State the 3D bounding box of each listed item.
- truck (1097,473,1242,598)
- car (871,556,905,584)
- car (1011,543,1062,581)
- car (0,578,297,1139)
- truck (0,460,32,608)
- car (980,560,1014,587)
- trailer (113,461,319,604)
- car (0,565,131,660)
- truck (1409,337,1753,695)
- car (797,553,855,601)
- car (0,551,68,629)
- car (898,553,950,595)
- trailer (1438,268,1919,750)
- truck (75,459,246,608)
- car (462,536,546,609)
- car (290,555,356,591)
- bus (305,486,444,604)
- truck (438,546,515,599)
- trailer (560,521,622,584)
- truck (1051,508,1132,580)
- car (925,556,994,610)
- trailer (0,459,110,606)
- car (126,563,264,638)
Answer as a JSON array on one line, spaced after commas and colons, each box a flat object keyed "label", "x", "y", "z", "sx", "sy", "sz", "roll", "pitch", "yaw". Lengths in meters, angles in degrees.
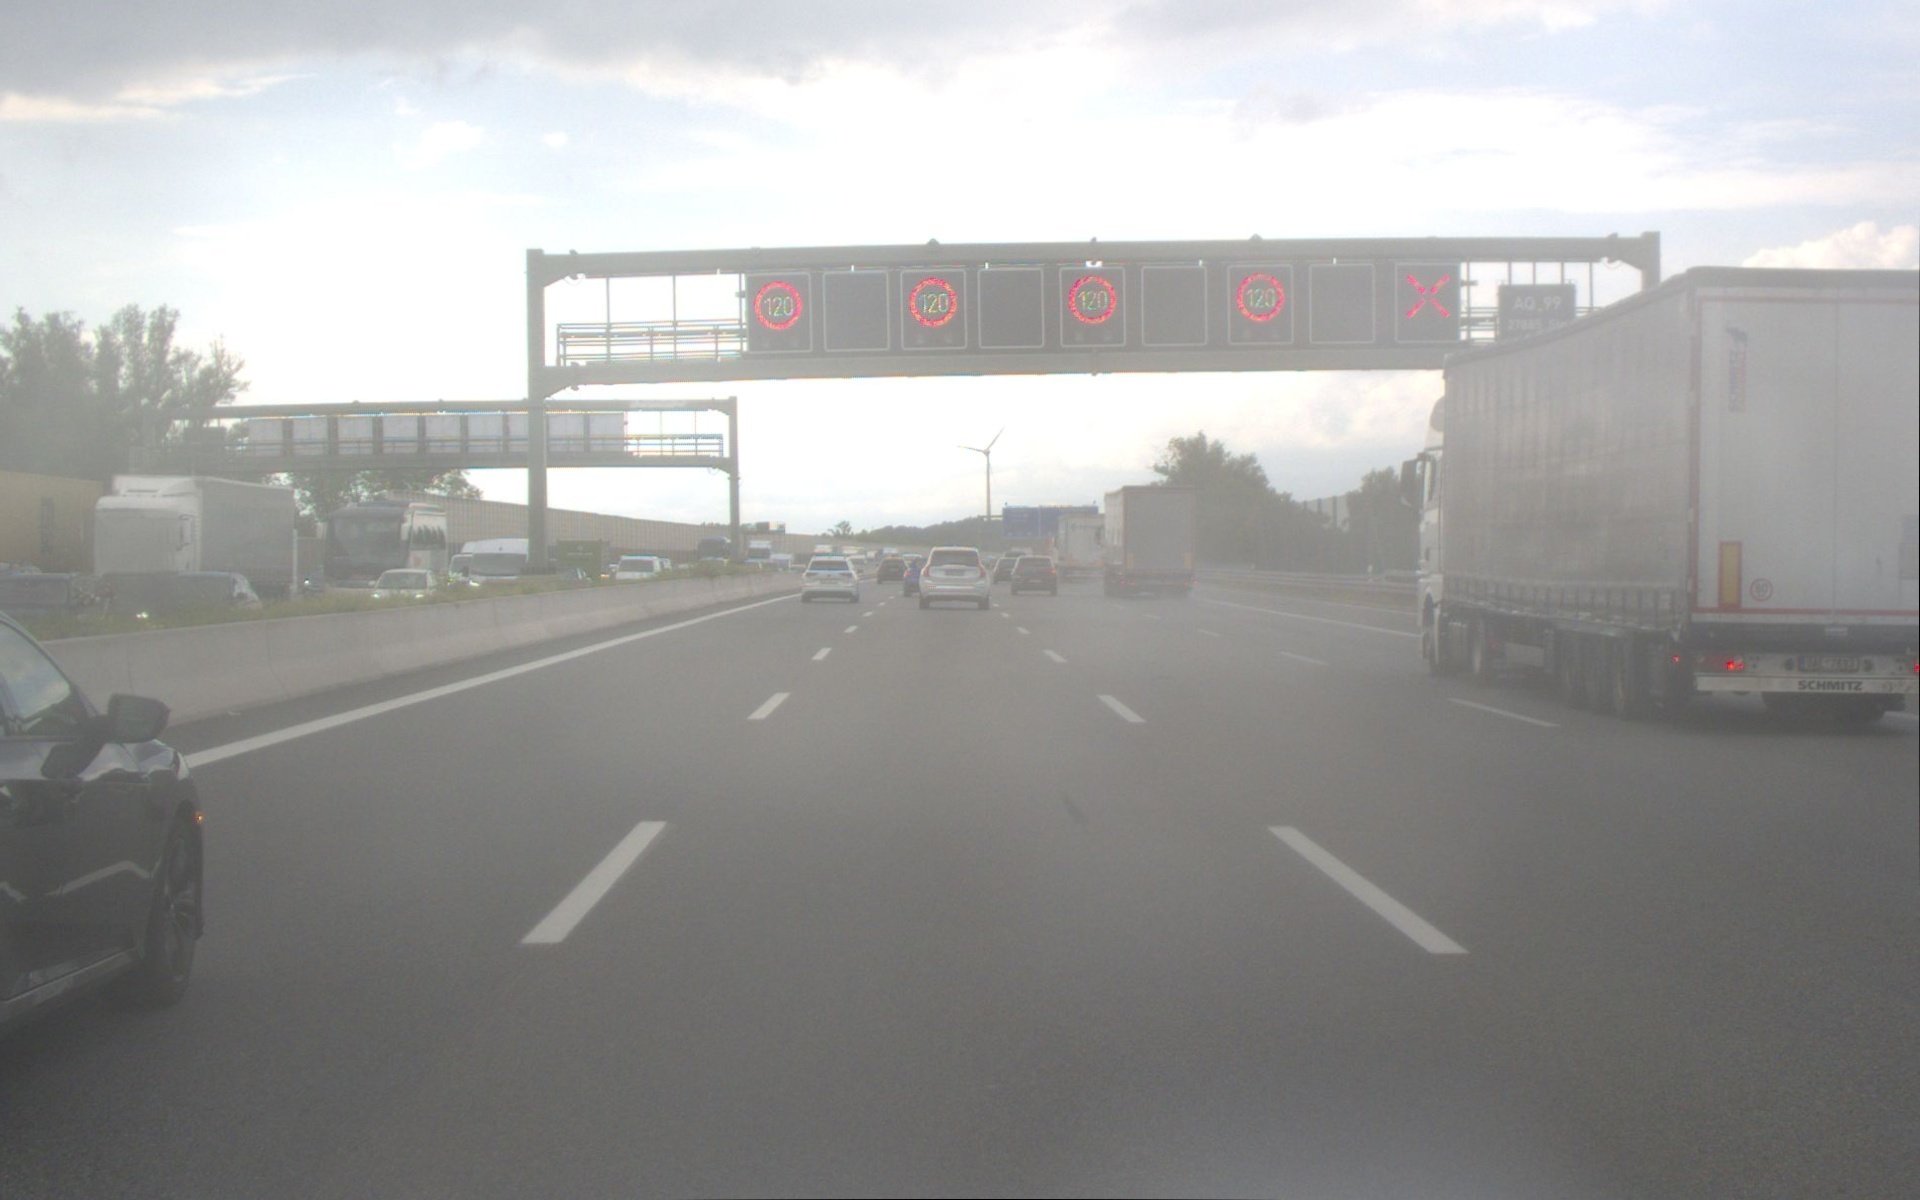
[{"label": "truck", "x": 7.600, "y": -2.347, "z": 126.929, "sx": 4.180, "sy": 4.273, "sz": 12.614, "roll": 1, "pitch": 1, "yaw": -1}, {"label": "car", "x": -3.962, "y": -1.658, "z": 188.589, "sx": 1.772, "sy": 1.436, "sz": 4.056, "roll": 1, "pitch": 1, "yaw": -3}, {"label": "car", "x": 2.975, "y": -1.489, "z": 134.121, "sx": 1.835, "sy": 1.436, "sz": 4.056, "roll": 1, "pitch": 1, "yaw": -1}, {"label": "car", "x": -3.367, "y": 0.651, "z": 10.578, "sx": 1.760, "sy": 1.364, "sz": 5.060, "roll": 1, "pitch": 1, "yaw": -1}, {"label": "truck", "x": -26.973, "y": -1.738, "z": 90.400, "sx": 3.029, "sy": 3.919, "sz": 7.710, "roll": 0, "pitch": 0, "yaw": 0}, {"label": "car", "x": 2.053, "y": -1.467, "z": 191.908, "sx": 1.835, "sy": 1.436, "sz": 4.056, "roll": 1, "pitch": 1, "yaw": -1}, {"label": "trailer", "x": -22.167, "y": -1.977, "z": 103.398, "sx": 2.886, "sy": 3.948, "sz": 14.299, "roll": 1, "pitch": 1, "yaw": 1}, {"label": "car", "x": -14.524, "y": 0.164, "z": 54.293, "sx": 1.787, "sy": 1.377, "sz": 4.861, "roll": 1, "pitch": 1, "yaw": -1}, {"label": "truck", "x": 7.464, "y": -1.013, "z": 42.239, "sx": 2.961, "sy": 4.006, "sz": 6.589, "roll": 1, "pitch": 1, "yaw": 0}, {"label": "car", "x": -4.214, "y": -0.728, "z": 108.081, "sx": 1.772, "sy": 1.436, "sz": 3.874, "roll": 1, "pitch": 1, "yaw": -2}, {"label": "car", "x": -18.244, "y": -0.219, "z": 64.627, "sx": 1.787, "sy": 1.377, "sz": 4.861, "roll": 1, "pitch": 1, "yaw": -1}, {"label": "car", "x": -1.341, "y": -0.963, "z": 125.518, "sx": 1.772, "sy": 1.436, "sz": 4.056, "roll": 1, "pitch": 1, "yaw": -2}, {"label": "trailer", "x": 7.480, "y": -0.881, "z": 35.829, "sx": 2.961, "sy": 4.006, "sz": 14.119, "roll": 1, "pitch": 1, "yaw": 0}, {"label": "truck", "x": -22.247, "y": -1.839, "z": 96.039, "sx": 2.886, "sy": 3.948, "sz": 7.536, "roll": 1, "pitch": 1, "yaw": 1}, {"label": "car", "x": -15.138, "y": -0.932, "z": 114.338, "sx": 2.136, "sy": 2.343, "sz": 5.711, "roll": 1, "pitch": 1, "yaw": -1}, {"label": "car", "x": -26.348, "y": -1.109, "z": 142.273, "sx": 1.807, "sy": 1.483, "sz": 4.773, "roll": 0, "pitch": 0, "yaw": 0}, {"label": "bus", "x": -19.075, "y": -1.752, "z": 112.650, "sx": 2.654, "sy": 3.667, "sz": 10.634, "roll": 0, "pitch": 0, "yaw": 0}, {"label": "truck", "x": -18.580, "y": -1.049, "z": 132.331, "sx": 2.243, "sy": 1.993, "sz": 5.545, "roll": 0, "pitch": 0, "yaw": -1}, {"label": "trailer", "x": -18.630, "y": -2.404, "z": 173.711, "sx": 2.449, "sy": 3.128, "sz": 6.051, "roll": 0, "pitch": 1, "yaw": 0}, {"label": "truck", "x": 7.884, "y": -3.366, "z": 207.413, "sx": 4.243, "sy": 4.162, "sz": 11.990, "roll": 1, "pitch": 1, "yaw": 0}, {"label": "car", "x": -0.032, "y": -0.495, "z": 96.762, "sx": 1.772, "sy": 1.436, "sz": 4.056, "roll": 1, "pitch": 1, "yaw": -2}, {"label": "trailer", "x": -26.930, "y": -1.828, "z": 96.077, "sx": 3.029, "sy": 3.919, "sz": 12.974, "roll": 0, "pitch": 0, "yaw": 0}, {"label": "car", "x": -15.025, "y": -0.012, "z": 67.734, "sx": 1.787, "sy": 1.377, "sz": 4.590, "roll": 1, "pitch": 1, "yaw": -1}]
